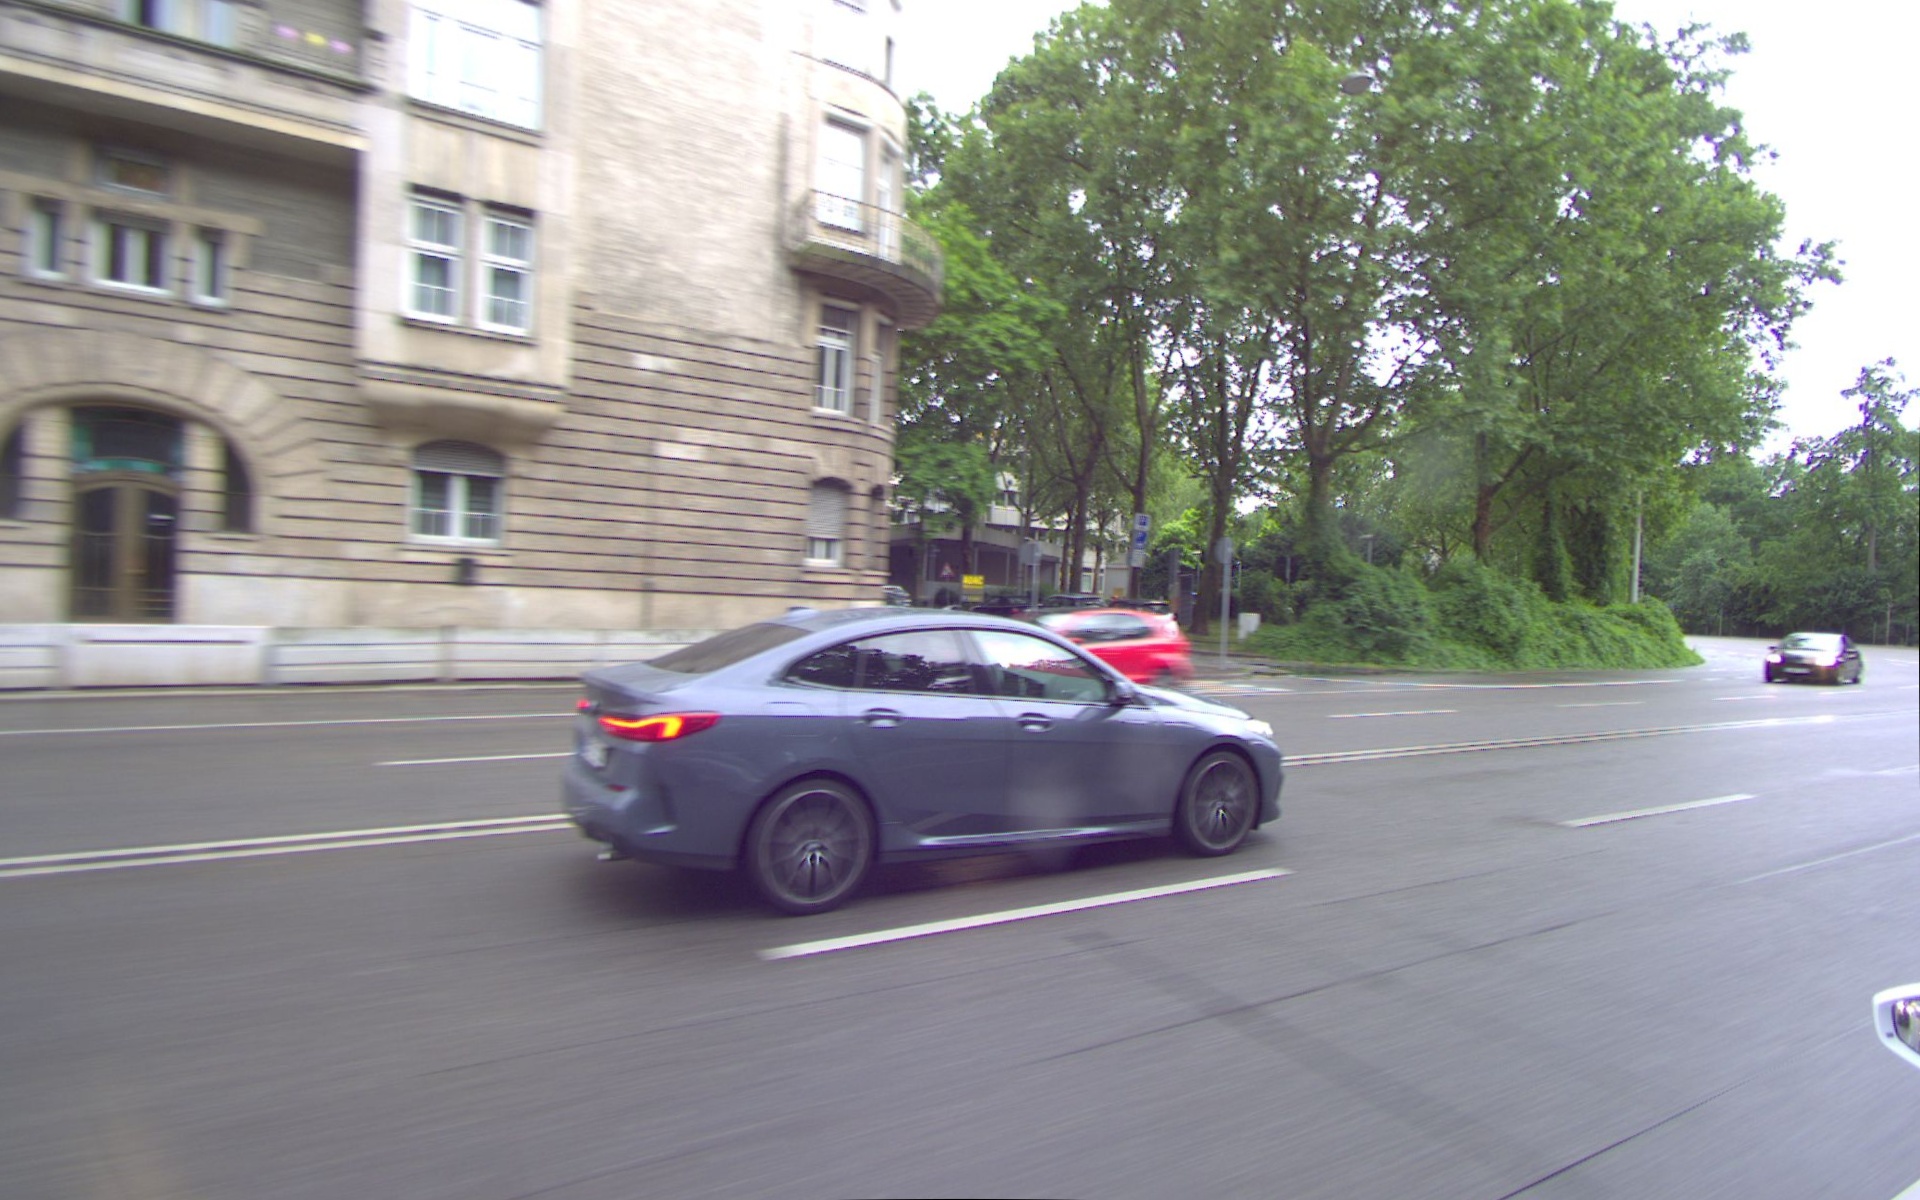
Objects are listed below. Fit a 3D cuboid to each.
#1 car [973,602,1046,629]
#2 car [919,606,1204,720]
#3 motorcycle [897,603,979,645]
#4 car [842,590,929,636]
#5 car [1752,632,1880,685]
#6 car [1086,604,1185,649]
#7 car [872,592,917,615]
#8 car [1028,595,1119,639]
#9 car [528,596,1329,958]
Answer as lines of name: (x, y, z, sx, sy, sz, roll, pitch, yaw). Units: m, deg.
car: (2.038, 0.642, 42.342, 1.753, 1.039, 3.487, 0, 0, -22)
car: (1.509, 0.853, 14.469, 3.916, 1.433, 1.572, 2, 0, -31)
motorcycle: (-0.626, 0.690, 28.943, 2.364, 1.156, 0.501, 2, 1, -29)
car: (-2.615, 0.401, 34.492, 1.671, 1.380, 3.975, 2, 1, -24)
car: (24.482, 1.648, 28.709, 3.872, 1.357, 1.692, 2, 0, -32)
car: (5.796, 0.858, 33.581, 1.752, 1.394, 3.489, 0, 0, -20)
car: (-3.659, 0.183, 55.678, 1.475, 1.223, 3.487, 0, 0, -22)
car: (4.165, 0.606, 37.423, 1.753, 1.532, 3.804, 0, 0, -22)
car: (-0.004, 0.766, 5.930, 4.488, 1.434, 1.656, 2, 0, -31)
